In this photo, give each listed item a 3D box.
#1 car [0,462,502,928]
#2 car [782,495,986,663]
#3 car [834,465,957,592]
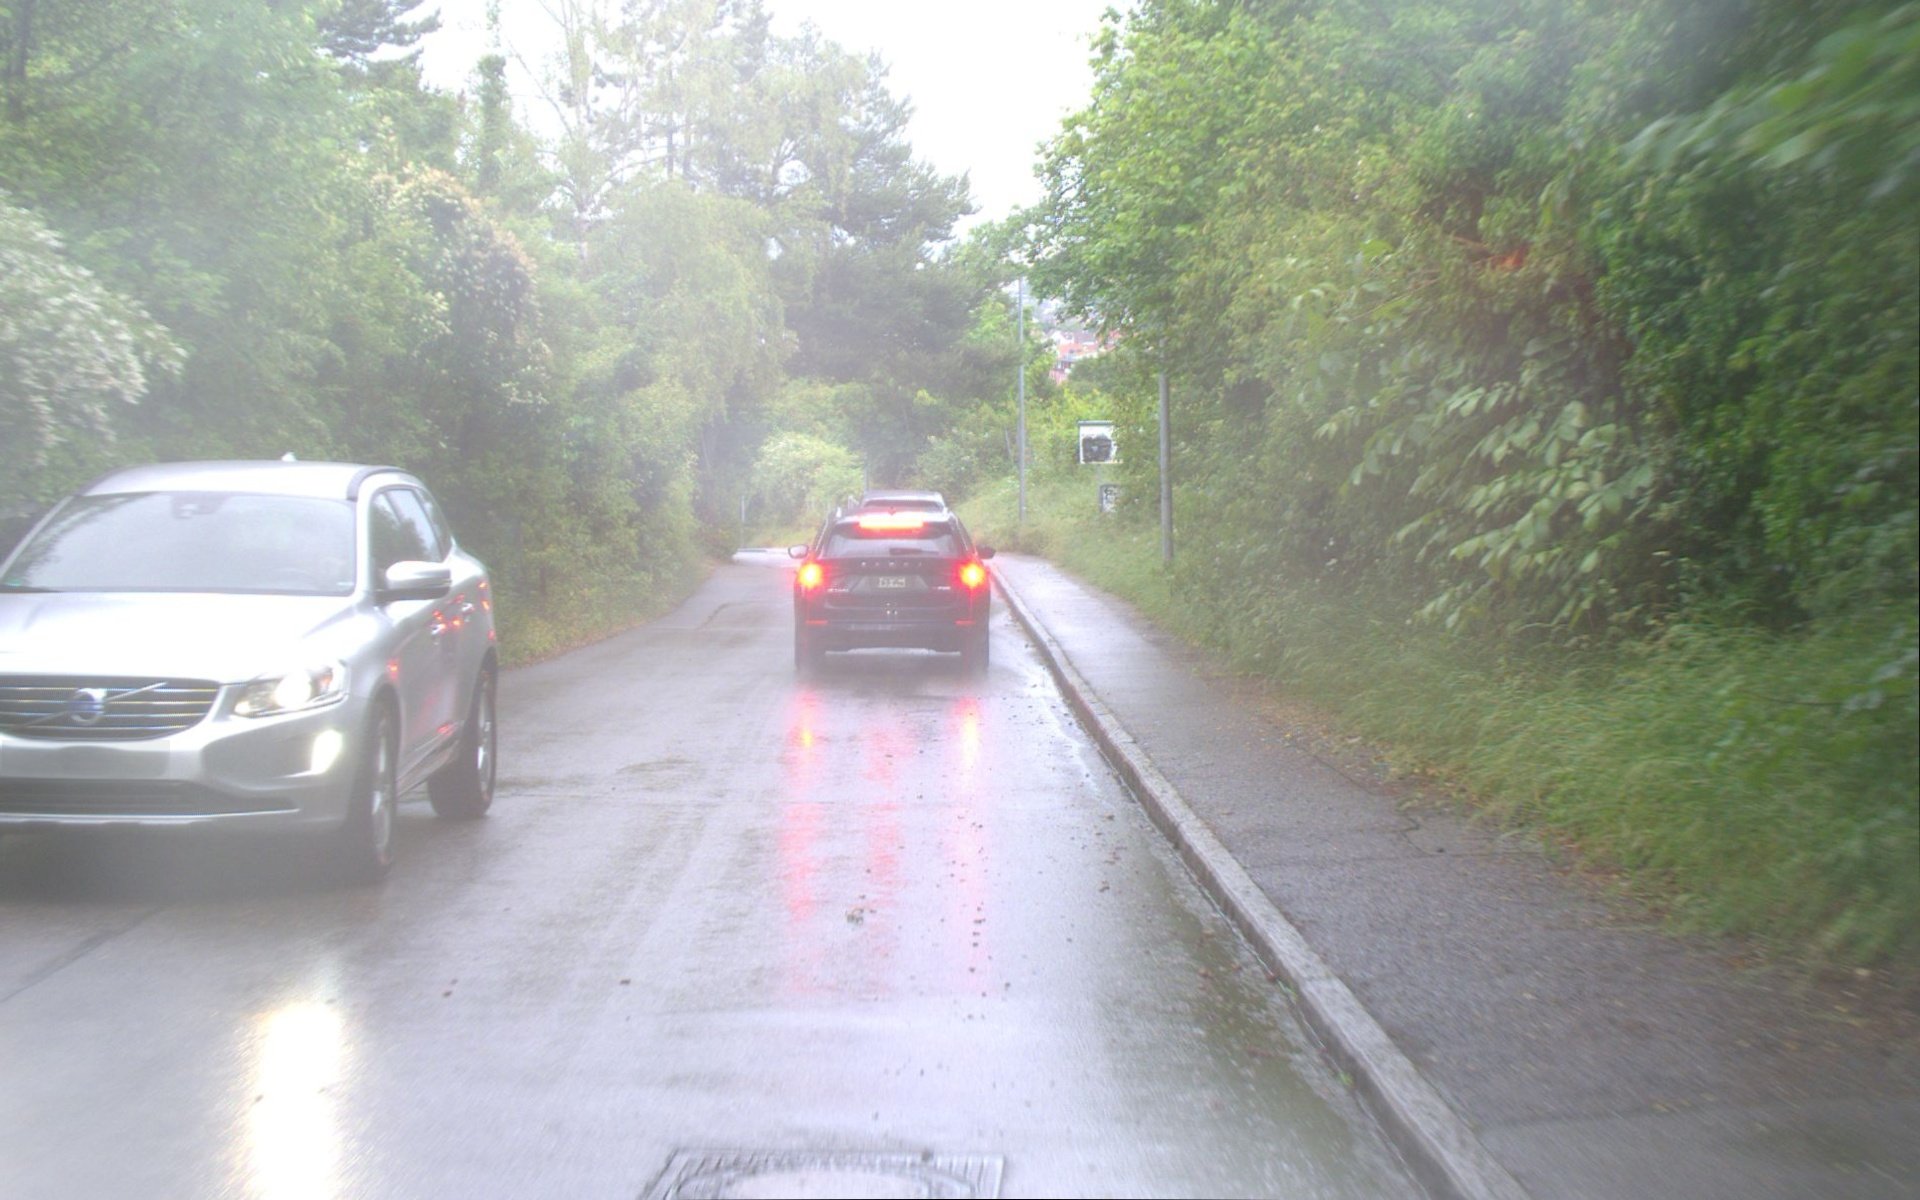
[{"bbox_3d":[-3.208,0.261,14.513,2.048,1.595,4.230,2,3,-1],"label":"car"},{"bbox_3d":[-0.763,-0.235,31.896,1.699,1.445,4.001,-1,2,-4],"label":"car"},{"bbox_3d":[-1.037,-1.090,54.266,1.863,1.737,4.000,1,-3,-2],"label":"car"}]
